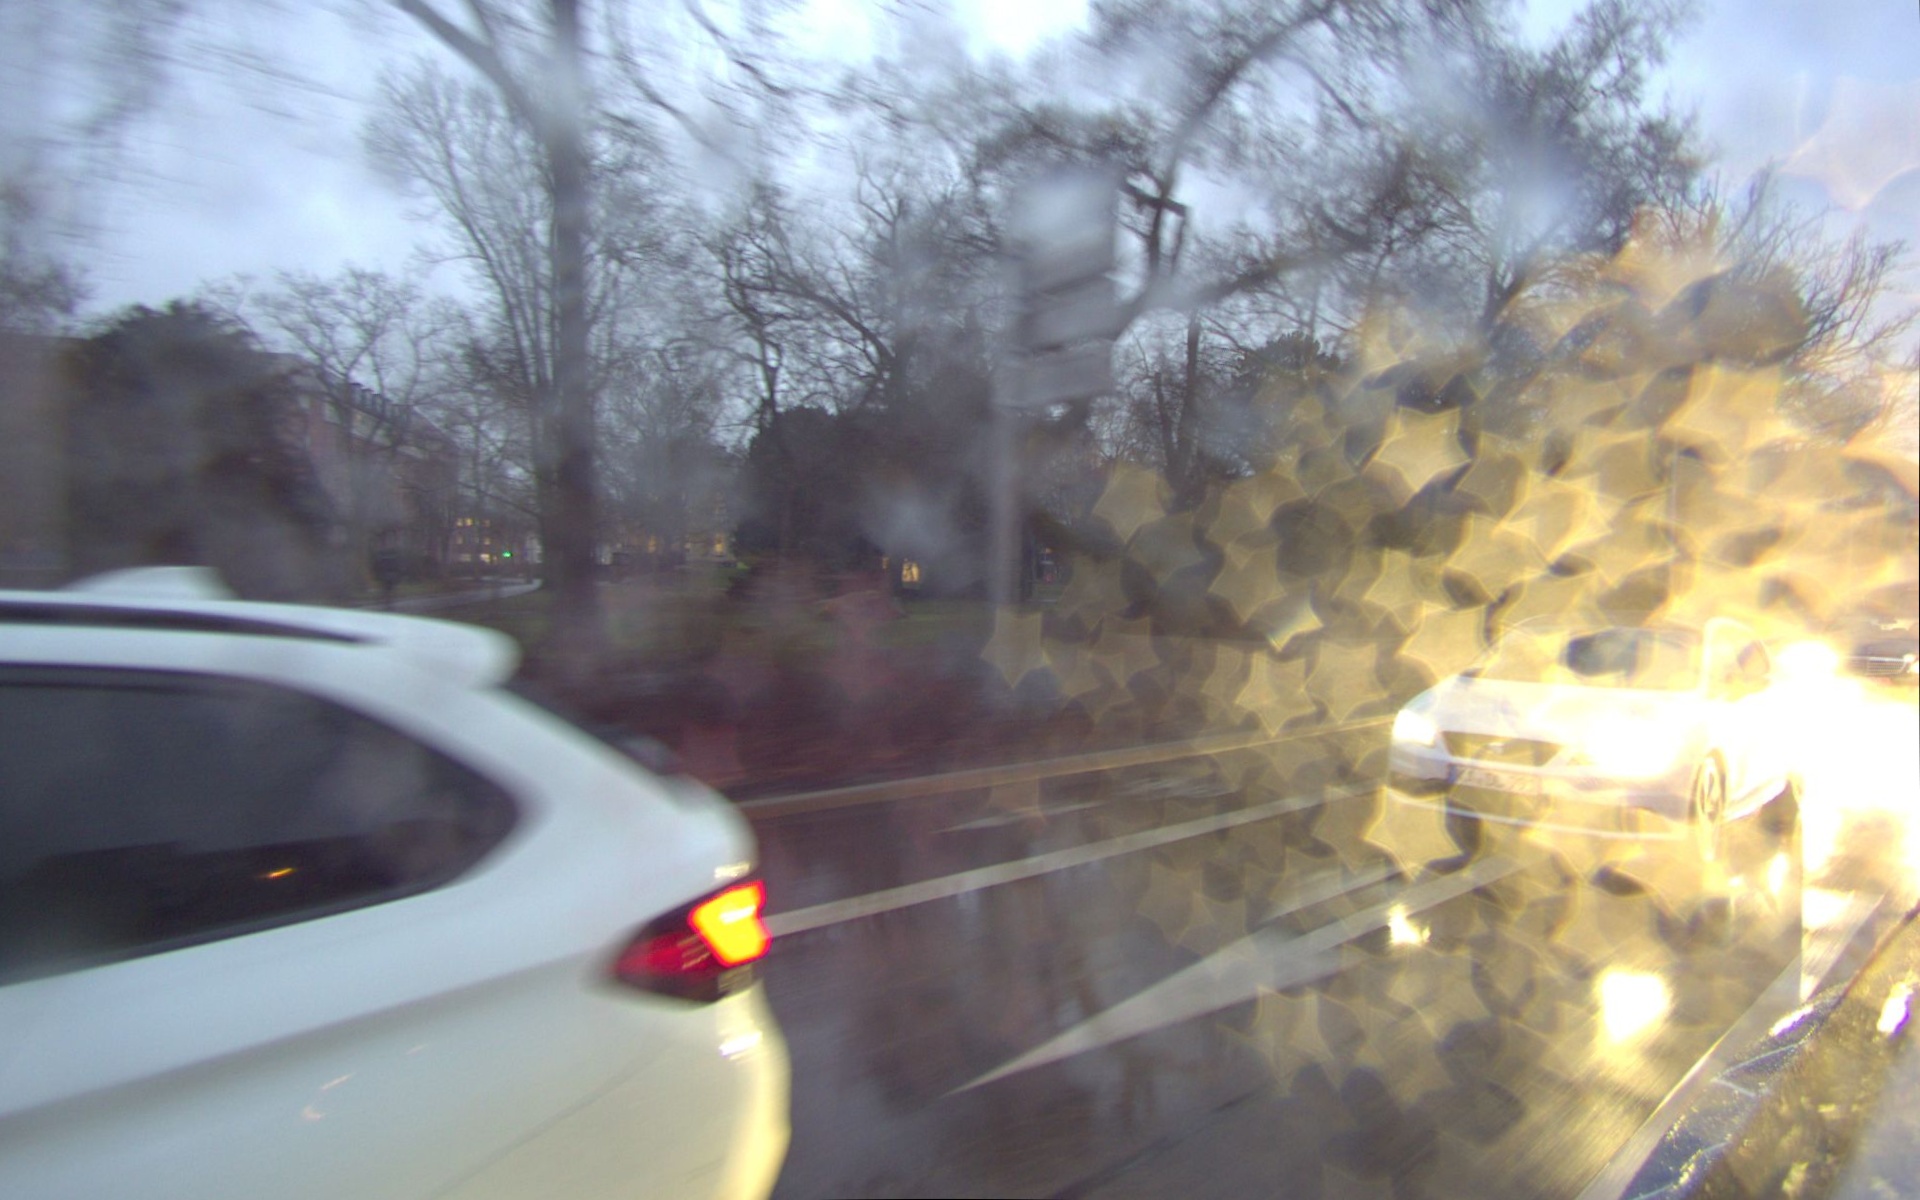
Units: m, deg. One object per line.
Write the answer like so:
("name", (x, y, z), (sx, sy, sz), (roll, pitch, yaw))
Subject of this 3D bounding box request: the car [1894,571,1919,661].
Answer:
("car", (20.517, 0.331, 20.668), (3.797, 1.771, 1.678), (0, 1, -41))

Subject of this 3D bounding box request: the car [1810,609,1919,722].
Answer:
("car", (15.169, 0.965, 16.102), (4.006, 1.517, 1.880), (-1, 2, -41))

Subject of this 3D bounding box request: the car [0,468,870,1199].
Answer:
("car", (-2.567, 0.633, 0.845), (4.881, 1.520, 1.789), (-1, 0, -42))

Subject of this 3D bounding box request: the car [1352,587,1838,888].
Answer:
("car", (4.597, 0.671, 7.093), (3.970, 1.479, 1.777), (-1, 2, -41))
